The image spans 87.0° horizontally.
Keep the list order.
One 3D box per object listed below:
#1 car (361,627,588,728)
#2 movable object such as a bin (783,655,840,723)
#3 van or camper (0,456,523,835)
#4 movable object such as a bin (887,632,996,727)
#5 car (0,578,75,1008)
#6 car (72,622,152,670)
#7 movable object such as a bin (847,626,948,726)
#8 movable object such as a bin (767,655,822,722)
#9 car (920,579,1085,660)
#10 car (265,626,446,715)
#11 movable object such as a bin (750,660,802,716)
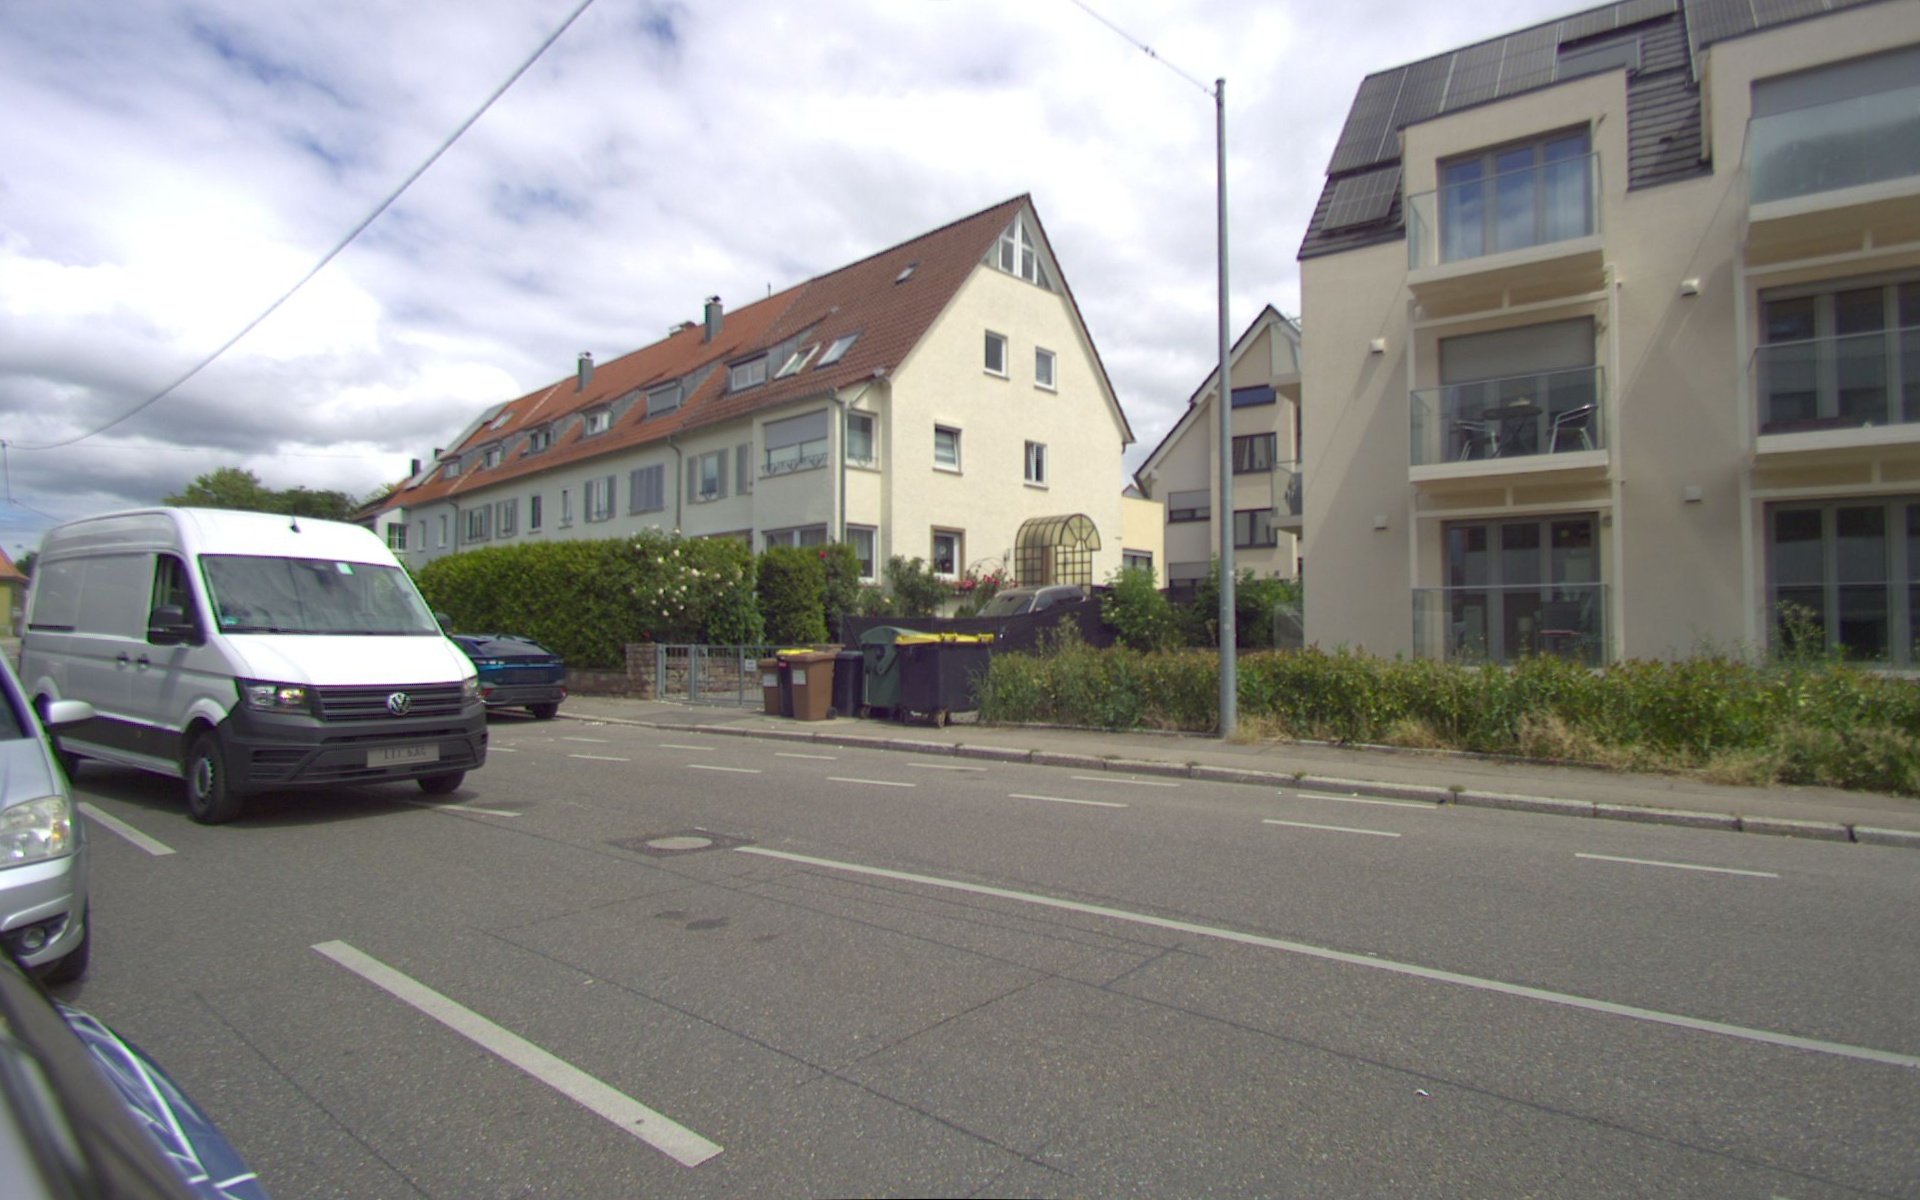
[{"bbox_3d":[-8.778,1.290,18.157,4.485,1.599,1.973,-1,-3,40],"label":"car"},{"bbox_3d":[-2.313,1.372,15.743,0.658,1.015,0.589,-2,-3,41],"label":"movable object such as a bin"},{"bbox_3d":[-6.772,0.436,9.408,5.903,2.600,2.009,-3,-2,33],"label":"van or camper"},{"bbox_3d":[-0.273,1.132,14.888,1.214,1.323,1.053,-2,-3,43],"label":"movable object such as a bin"},{"bbox_3d":[-5.447,0.743,4.730,4.332,1.552,1.684,-2,-1,45],"label":"car"},{"bbox_3d":[-36.347,1.938,43.320,5.405,1.909,1.971,-2,-5,44],"label":"car"},{"bbox_3d":[-0.980,1.161,15.977,1.213,1.493,1.054,-2,-3,39],"label":"movable object such as a bin"},{"bbox_3d":[-2.677,1.416,16.344,0.658,1.032,0.589,-2,-3,41],"label":"movable object such as a bin"},{"bbox_3d":[1.070,0.452,23.613,1.802,1.719,3.946,-2,-1,40],"label":"car"},{"bbox_3d":[-12.757,1.395,21.241,4.515,1.663,1.972,-1,-3,41],"label":"car"},{"bbox_3d":[-3.071,1.457,16.889,0.614,0.886,0.589,-2,-3,41],"label":"movable object such as a bin"}]
